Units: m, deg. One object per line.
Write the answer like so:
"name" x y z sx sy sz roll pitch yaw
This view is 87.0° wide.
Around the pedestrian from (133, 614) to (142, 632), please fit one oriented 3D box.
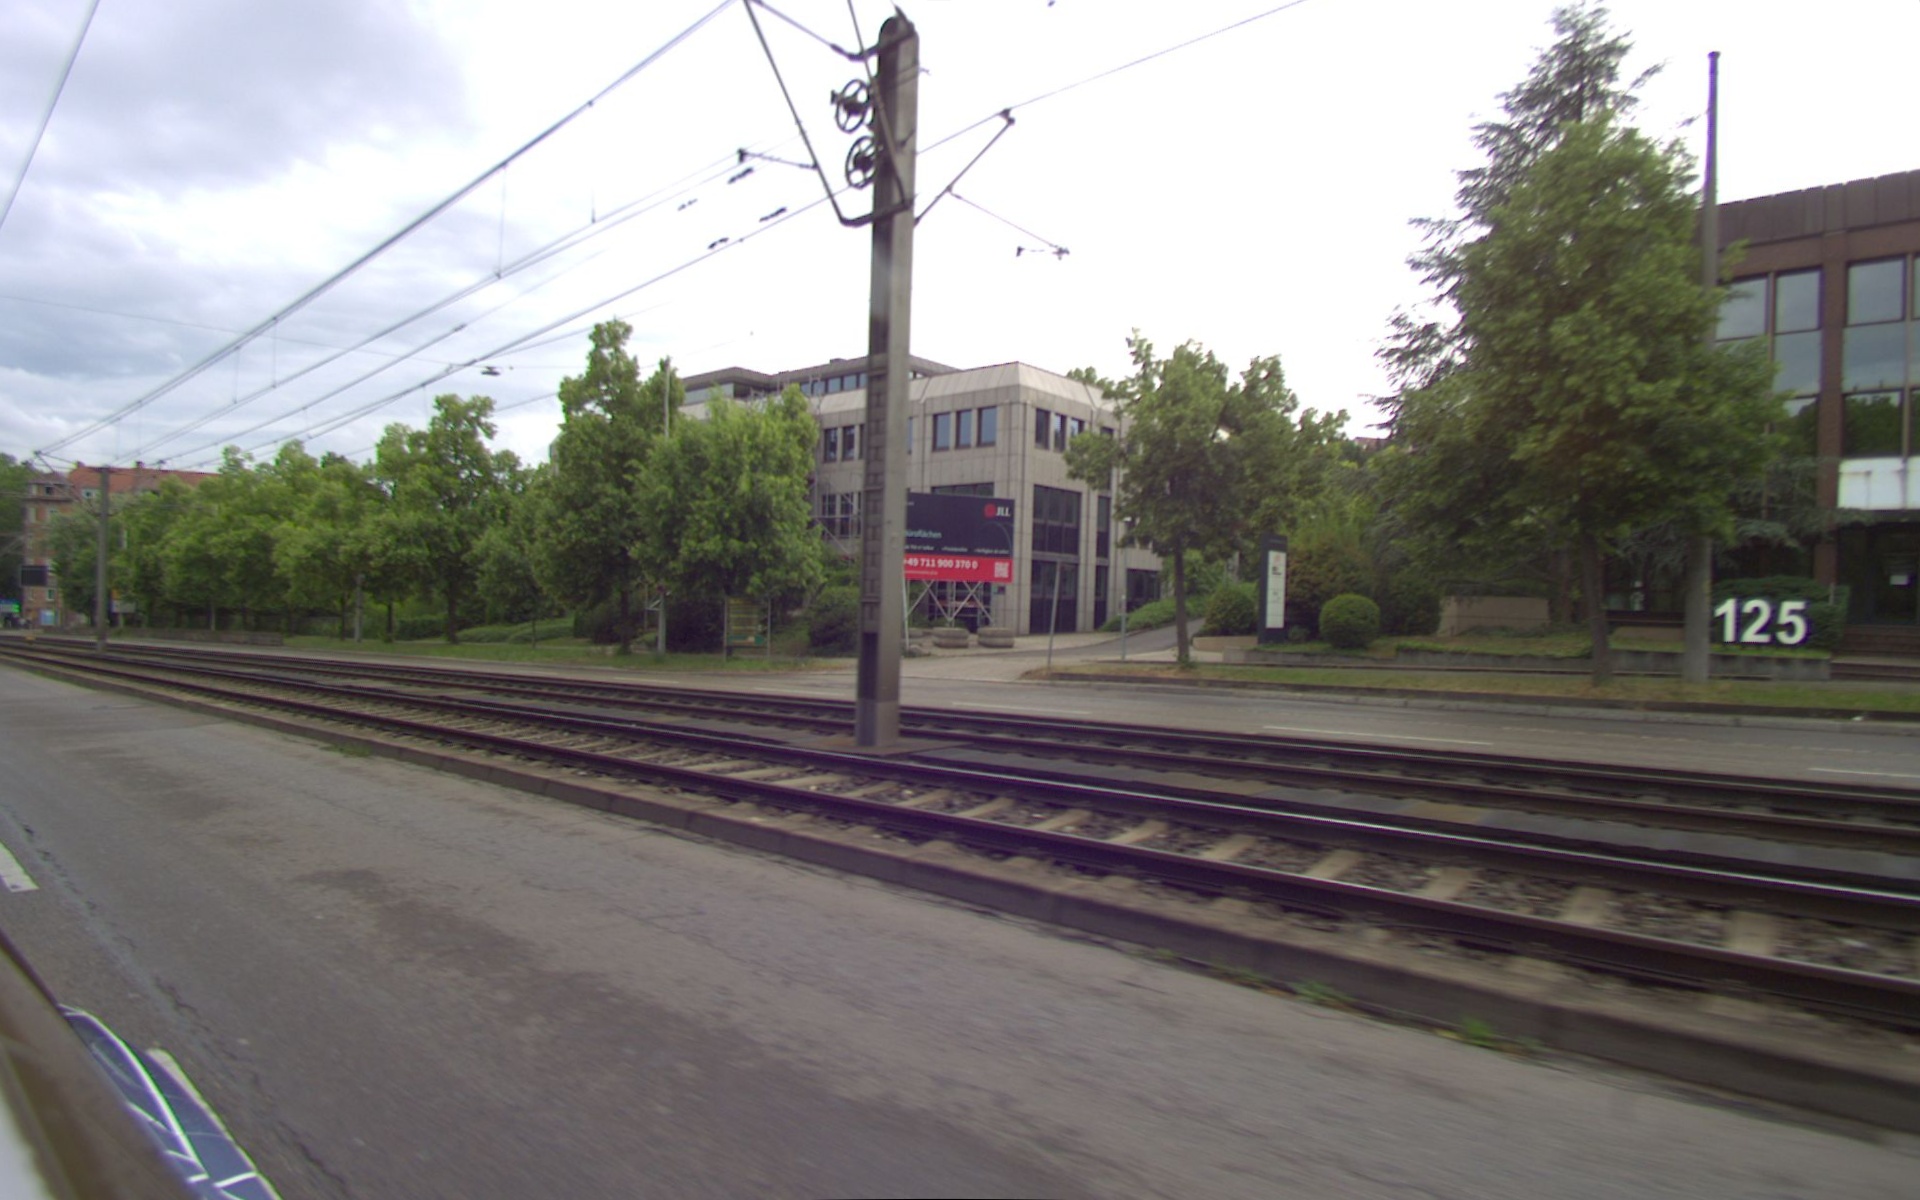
"pedestrian" -86.296 2.419 106.235 0.653 1.917 0.590 -1 -1 38
